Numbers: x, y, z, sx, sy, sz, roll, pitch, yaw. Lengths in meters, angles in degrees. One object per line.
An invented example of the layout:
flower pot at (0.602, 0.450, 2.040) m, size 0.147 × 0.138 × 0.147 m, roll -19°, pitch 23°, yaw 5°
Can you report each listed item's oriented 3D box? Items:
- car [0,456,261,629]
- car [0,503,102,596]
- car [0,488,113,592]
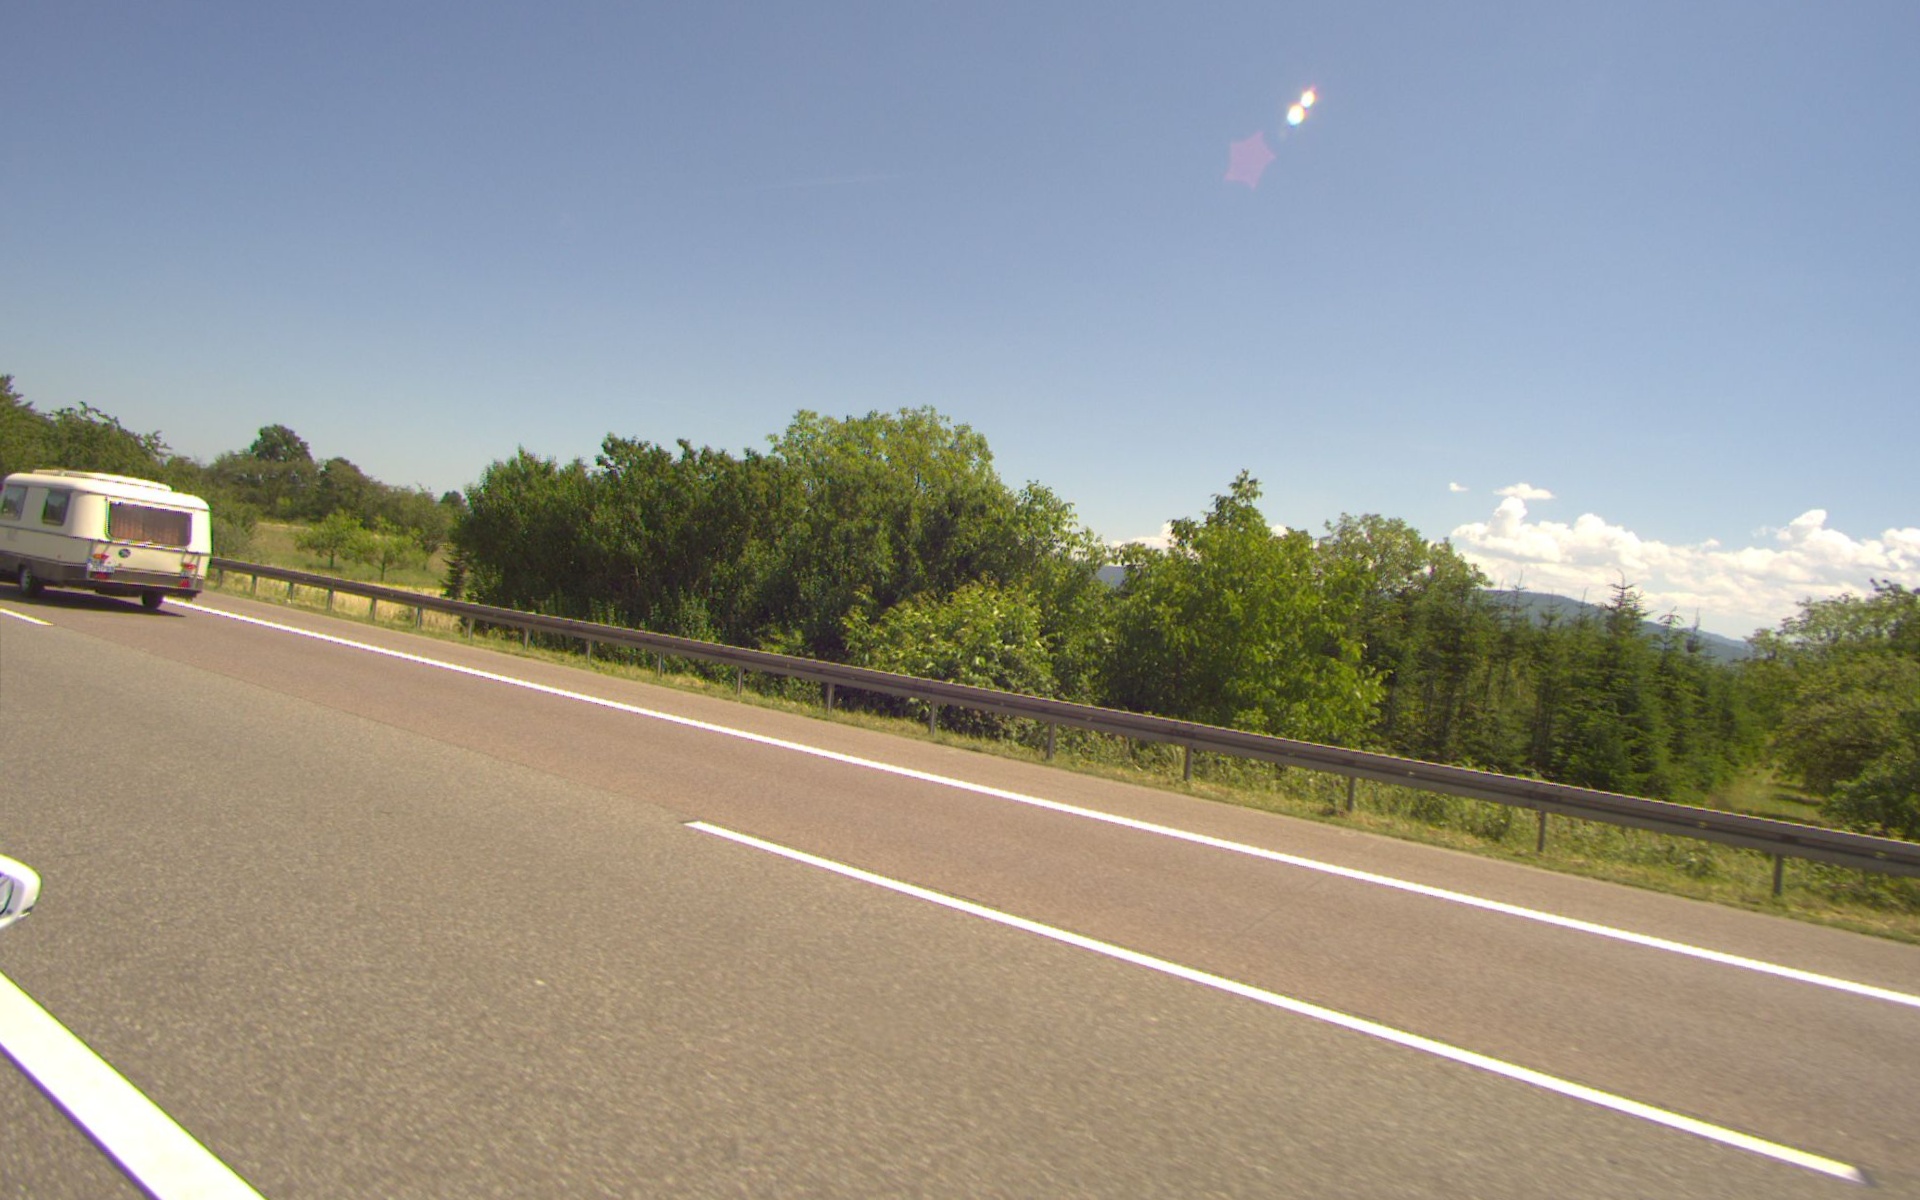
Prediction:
car at (-14.987, -1.075, 17.605) m, size 5.232 × 2.350 × 2.445 m, roll 8°, pitch 1°, yaw 31°
car at (-19.711, -1.220, 20.386) m, size 5.290 × 1.532 × 1.891 m, roll 7°, pitch -2°, yaw 32°
car at (-19.720, -1.398, 20.485) m, size 5.417 × 1.678 × 2.048 m, roll 8°, pitch 0°, yaw 31°
